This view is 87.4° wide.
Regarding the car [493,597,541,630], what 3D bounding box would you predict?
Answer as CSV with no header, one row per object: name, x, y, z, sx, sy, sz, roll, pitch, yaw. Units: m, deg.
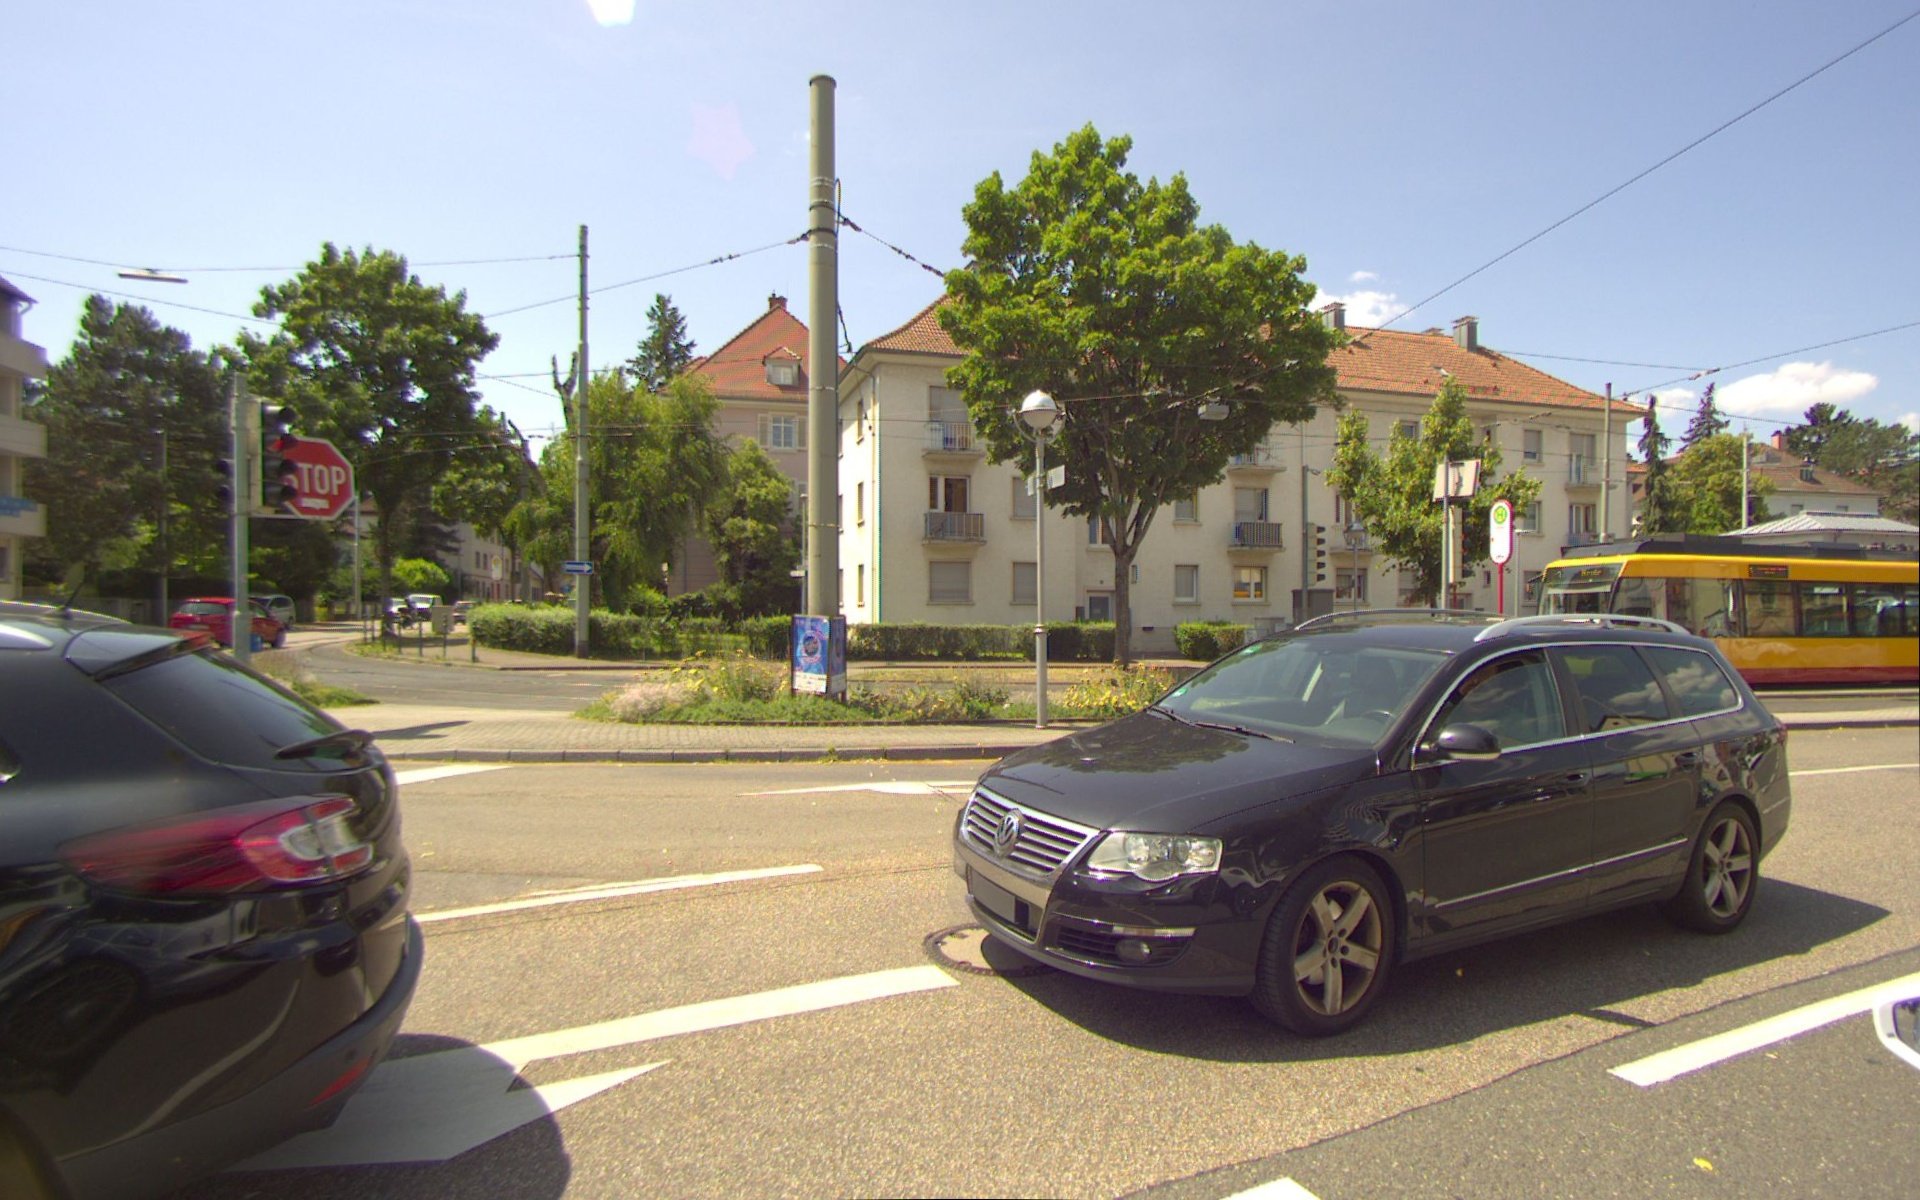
car,-26.439,0.792,60.021,1.967,1.831,3.988,1,0,-15

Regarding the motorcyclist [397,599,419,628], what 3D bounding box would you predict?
motorcyclist,-28.637,0.681,52.123,0.700,1.465,1.017,1,0,-9

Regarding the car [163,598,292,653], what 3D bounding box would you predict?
car,-22.852,0.766,31.511,1.774,1.578,4.027,1,-1,-13

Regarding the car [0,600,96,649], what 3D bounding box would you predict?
car,-30.455,0.776,32.705,1.967,1.530,3.988,1,-1,-15

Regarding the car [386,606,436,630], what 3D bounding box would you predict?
car,-38.703,1.265,70.917,1.772,1.578,4.031,4,-1,-9

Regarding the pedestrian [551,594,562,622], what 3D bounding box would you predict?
pedestrian,-23.828,0.480,59.320,0.501,1.678,0.465,1,0,-10

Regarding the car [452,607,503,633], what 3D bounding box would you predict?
car,-30.225,1.248,63.065,1.772,1.578,4.031,1,-1,-9

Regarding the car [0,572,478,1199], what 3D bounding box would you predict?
car,-3.419,0.693,1.923,4.373,1.520,1.984,1,-1,-30

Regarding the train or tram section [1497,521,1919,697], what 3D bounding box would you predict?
train or tram section,19.526,0.286,24.099,13.953,3.616,2.808,1,-1,-18

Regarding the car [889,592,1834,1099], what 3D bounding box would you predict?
car,2.079,0.786,4.994,4.455,1.539,1.986,1,-1,-28

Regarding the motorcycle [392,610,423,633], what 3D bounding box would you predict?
motorcycle,-28.648,1.114,52.140,0.700,1.149,2.194,1,0,-9

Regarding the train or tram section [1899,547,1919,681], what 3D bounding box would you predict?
train or tram section,33.044,0.450,28.423,14.470,3.616,2.784,1,-1,-18

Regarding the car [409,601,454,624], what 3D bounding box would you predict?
car,-40.513,0.959,77.145,1.772,1.578,4.031,4,-1,-9
